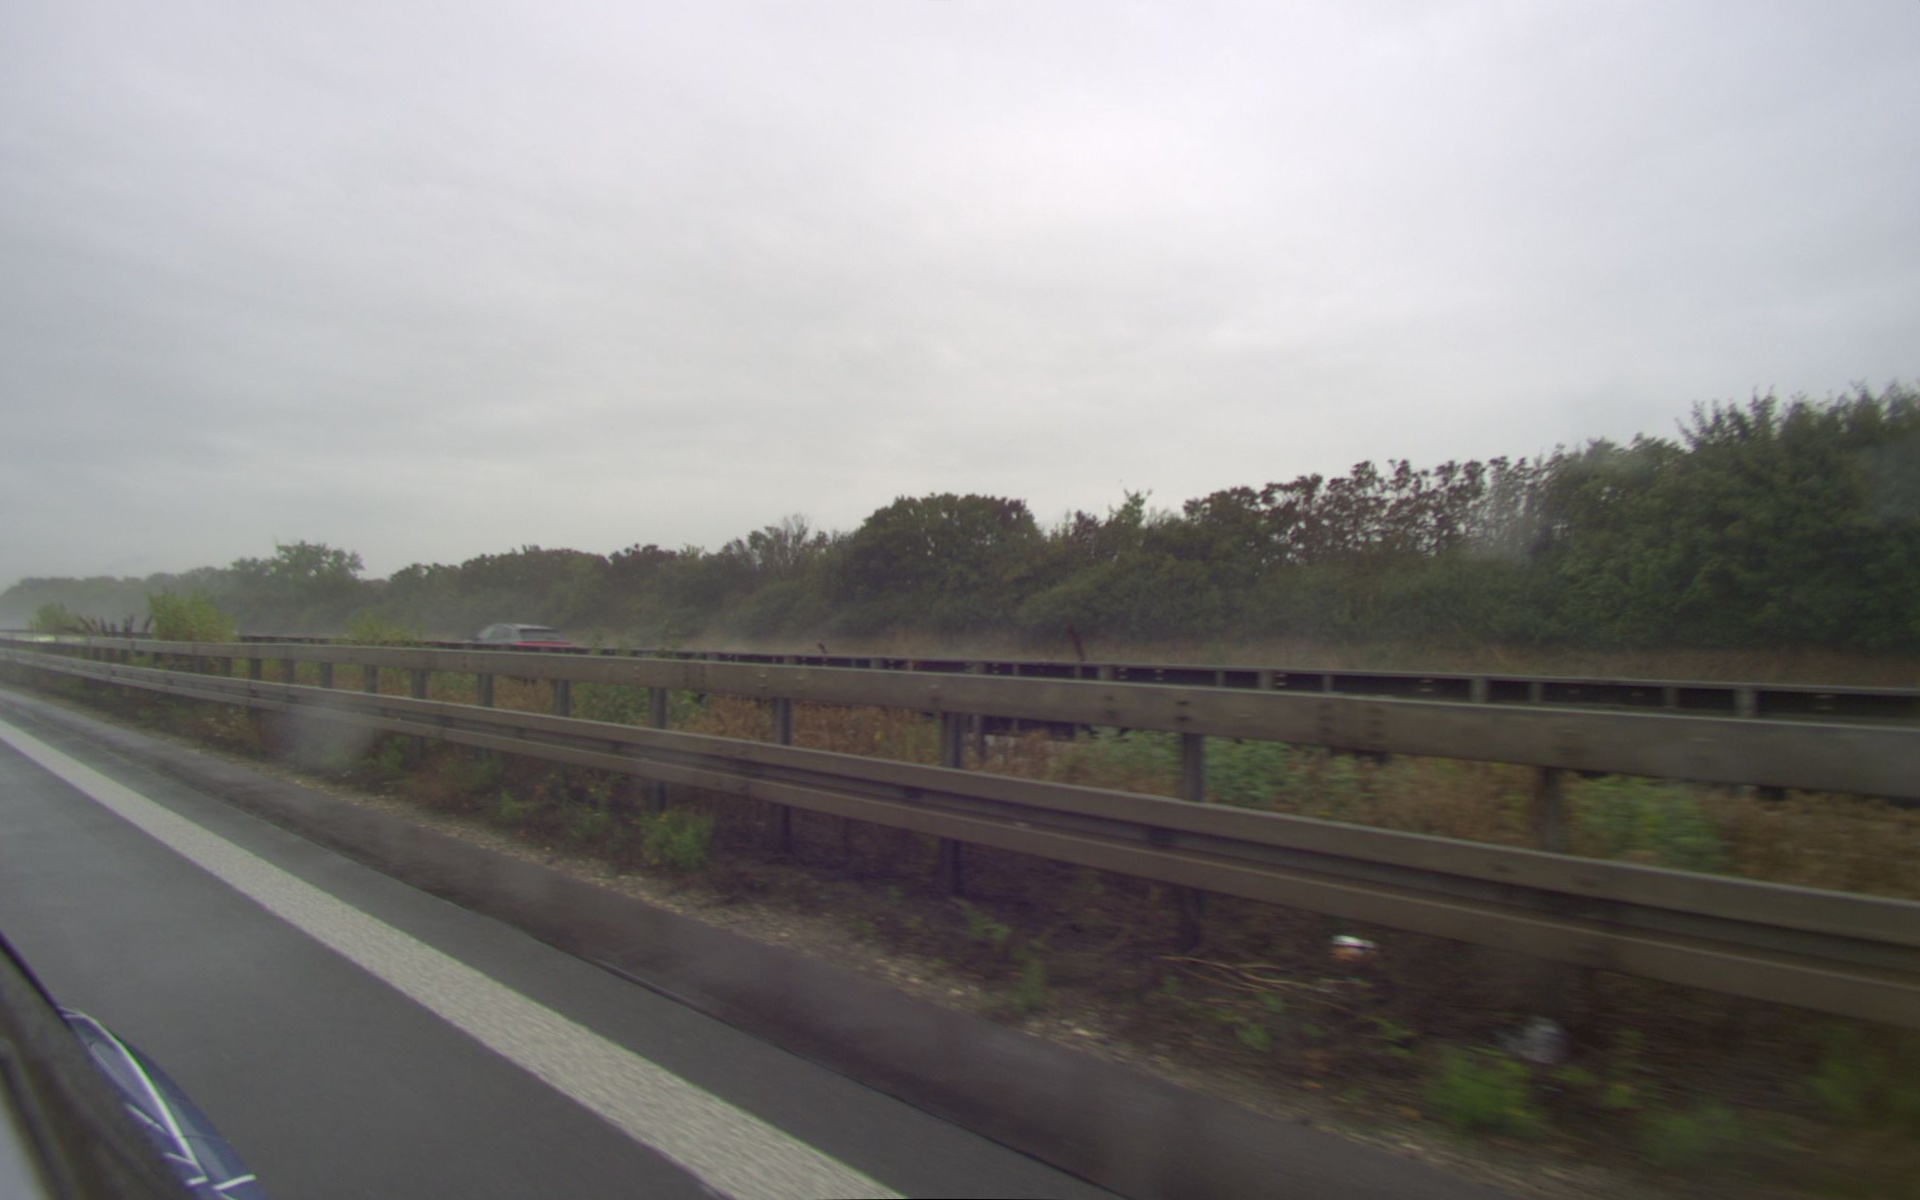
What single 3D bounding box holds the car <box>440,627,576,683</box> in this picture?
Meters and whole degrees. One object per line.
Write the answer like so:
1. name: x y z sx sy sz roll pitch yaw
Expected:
1. car: -13.972 1.645 31.121 4.932 1.524 1.908 -2 -1 41
